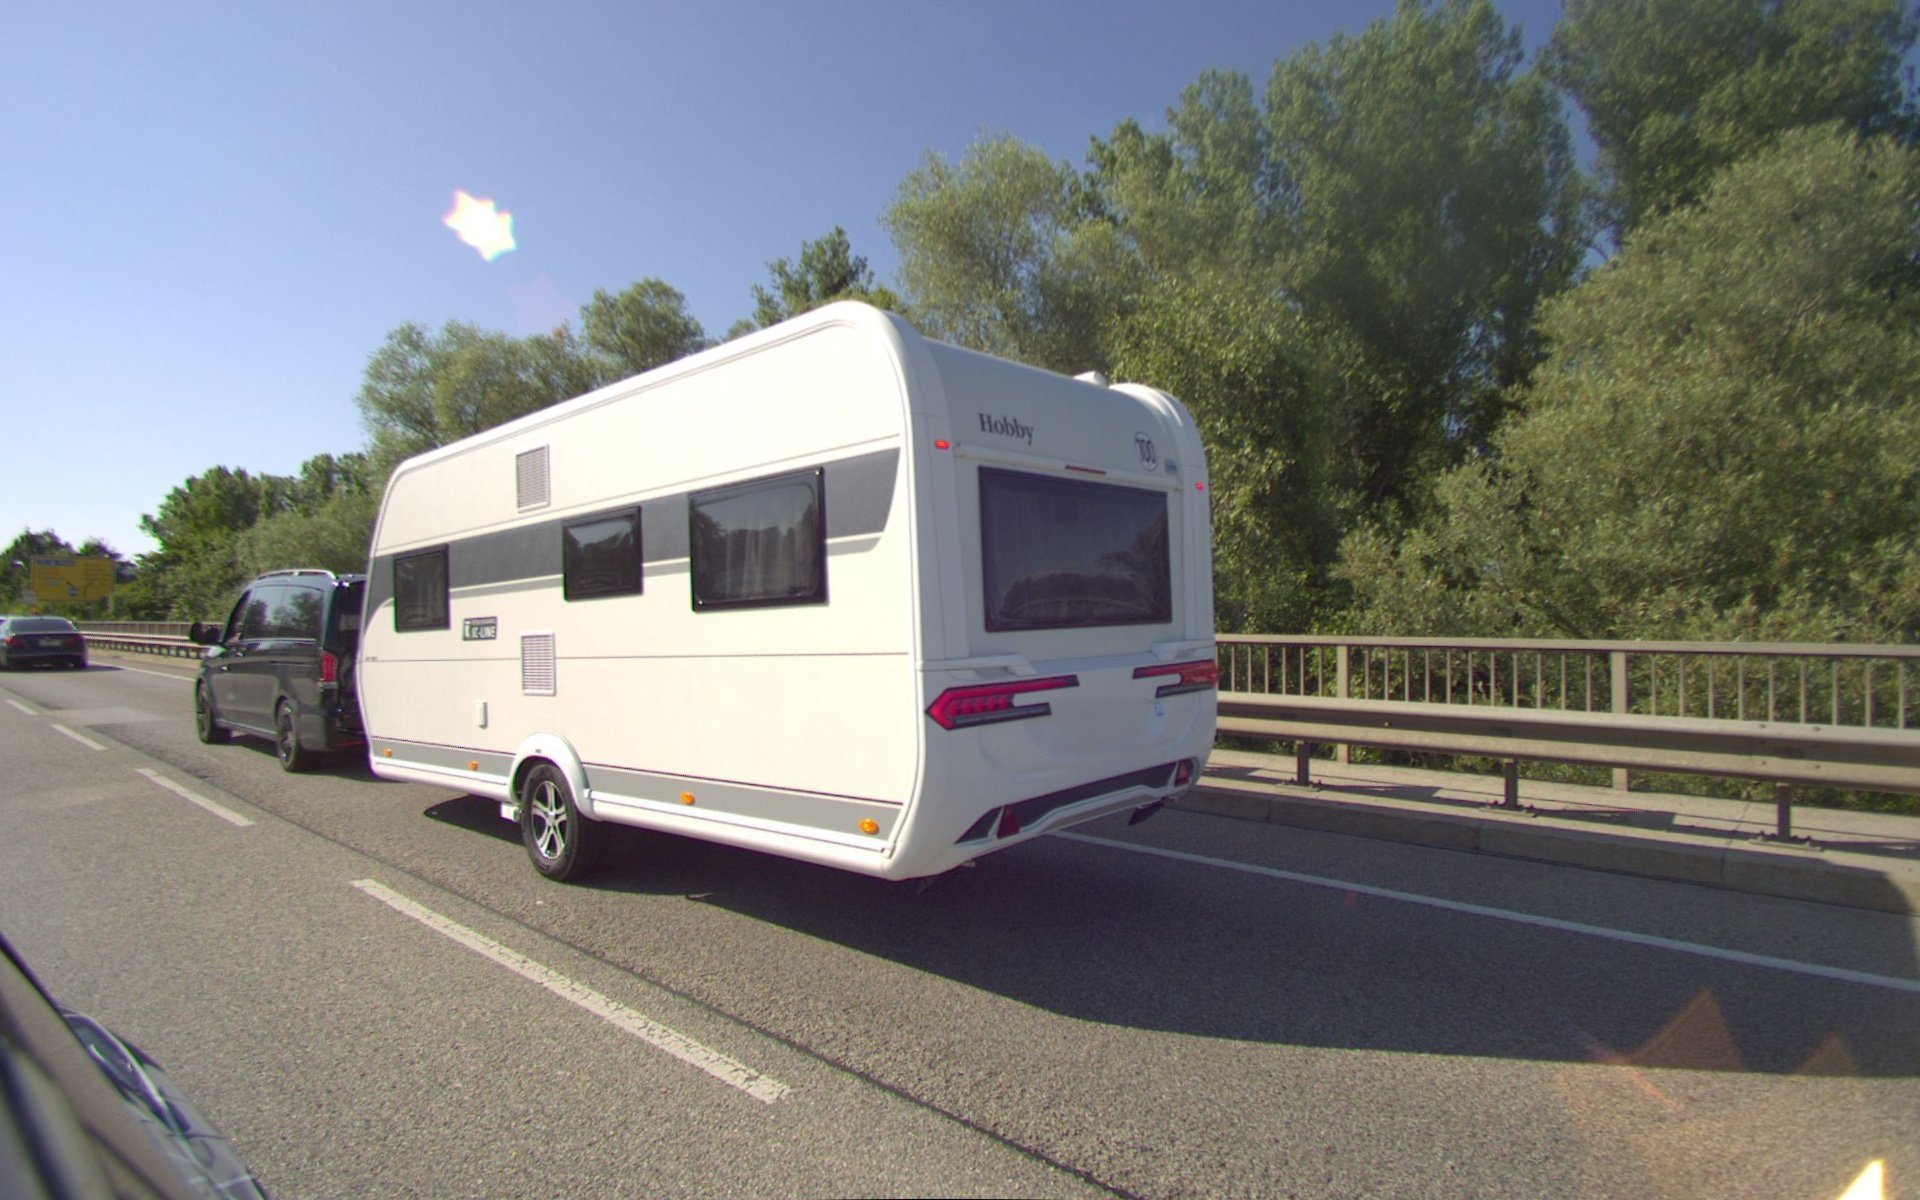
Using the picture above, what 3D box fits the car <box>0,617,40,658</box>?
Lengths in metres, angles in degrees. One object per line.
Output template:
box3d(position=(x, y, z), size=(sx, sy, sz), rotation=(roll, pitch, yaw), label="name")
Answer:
box3d(position=(-35.134, 1.341, 36.883), size=(4.482, 1.447, 1.714), rotation=(-1, -1, 39), label="car")

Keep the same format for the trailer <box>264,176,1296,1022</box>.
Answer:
box3d(position=(-2.130, 0.076, 6.937), size=(8.059, 2.758, 2.528), rotation=(-2, -1, 42), label="trailer")

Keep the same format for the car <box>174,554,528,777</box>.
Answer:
box3d(position=(-6.739, 0.583, 10.924), size=(5.008, 1.868, 1.962), rotation=(-1, -1, 43), label="car")

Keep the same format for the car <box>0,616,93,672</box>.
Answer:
box3d(position=(-25.457, 1.148, 27.802), size=(4.648, 1.431, 1.768), rotation=(-1, -1, 40), label="car")
